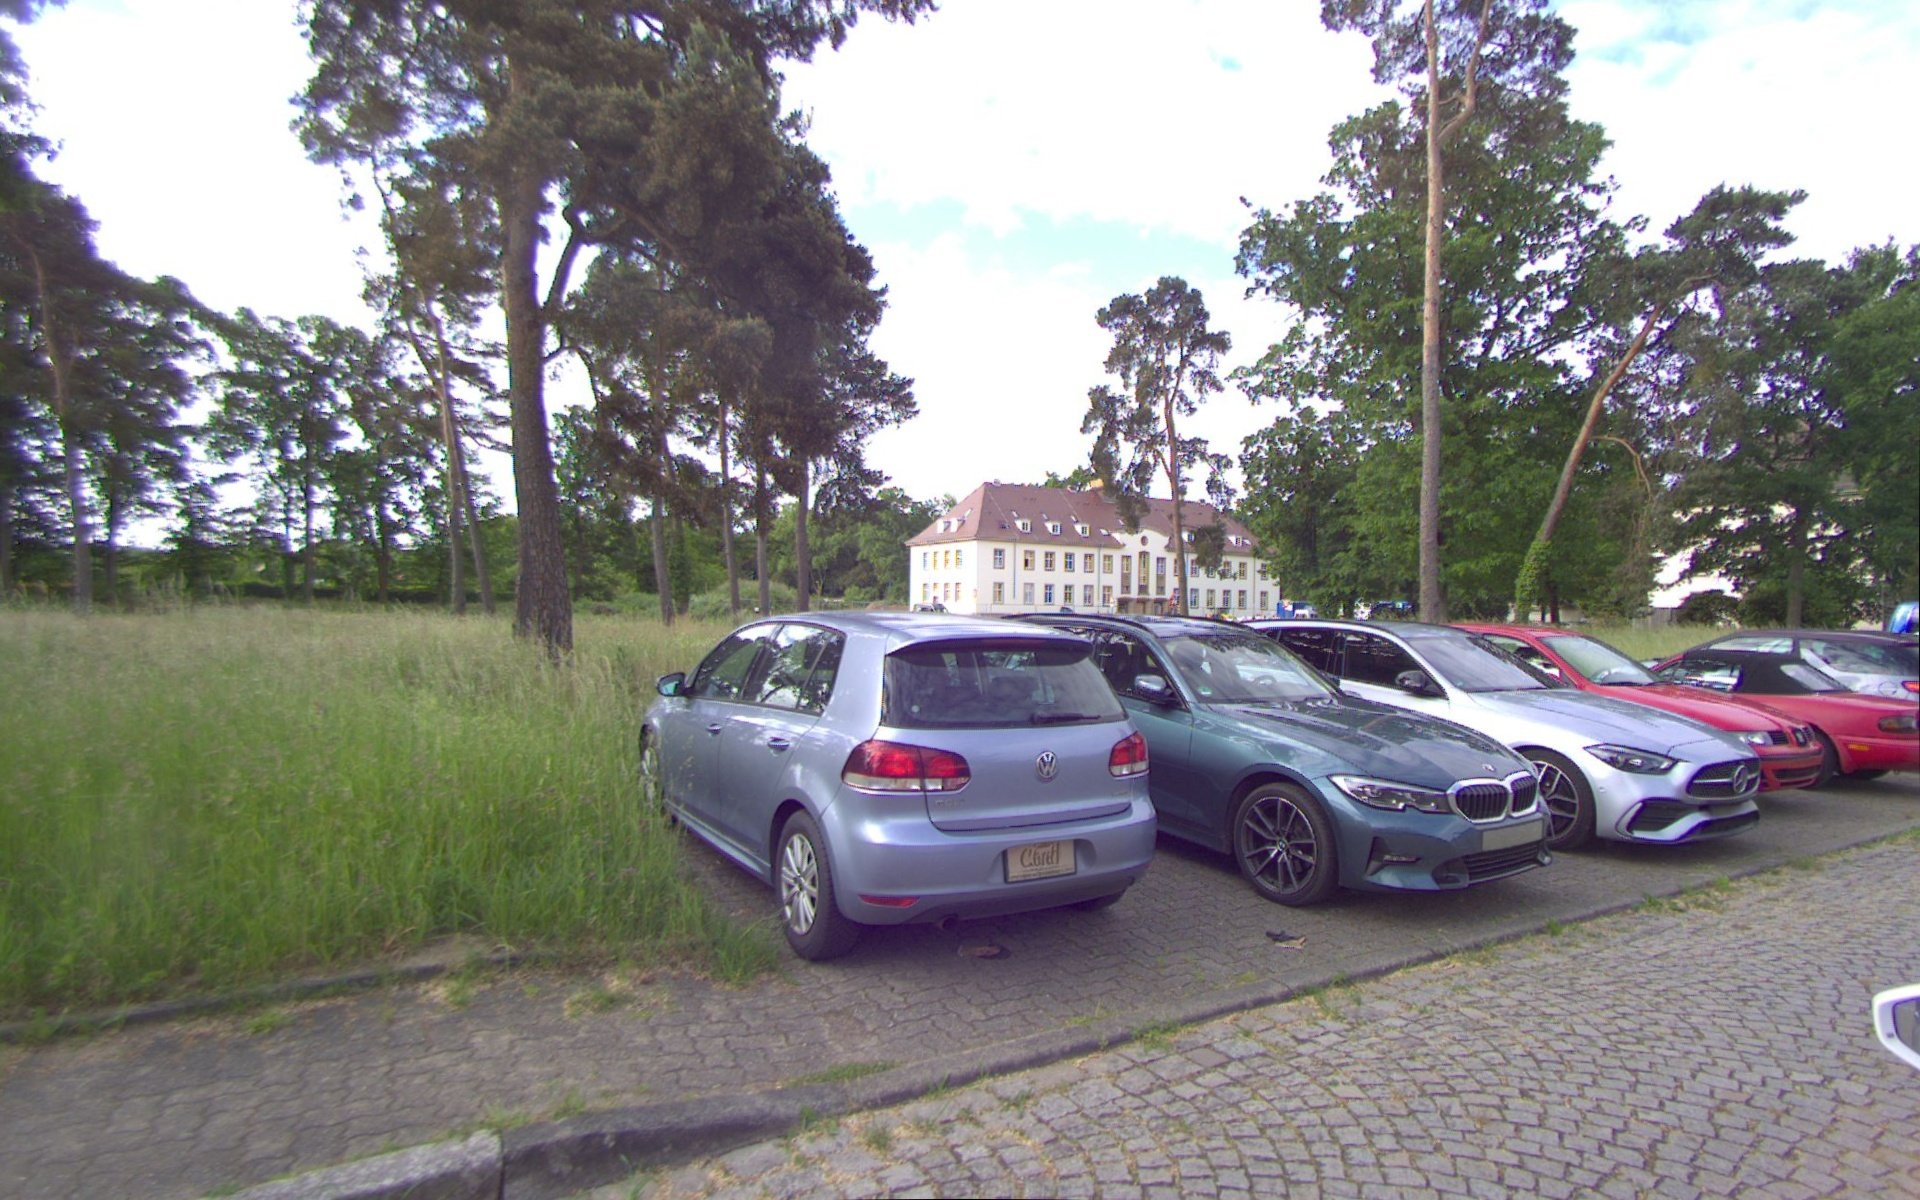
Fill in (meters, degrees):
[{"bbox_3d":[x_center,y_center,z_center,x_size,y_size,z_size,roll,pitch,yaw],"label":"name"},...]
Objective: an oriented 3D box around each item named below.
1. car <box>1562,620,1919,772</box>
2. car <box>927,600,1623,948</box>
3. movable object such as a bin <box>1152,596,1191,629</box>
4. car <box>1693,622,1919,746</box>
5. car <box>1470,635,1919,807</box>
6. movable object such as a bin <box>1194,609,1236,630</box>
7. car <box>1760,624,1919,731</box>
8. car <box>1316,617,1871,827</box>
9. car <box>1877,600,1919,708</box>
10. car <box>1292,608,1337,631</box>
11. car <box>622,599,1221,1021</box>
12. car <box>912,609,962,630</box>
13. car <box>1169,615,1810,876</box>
[{"bbox_3d":[10.042,1.055,12.497,1.734,1.500,4.070,1,0,-29],"label":"car"},{"bbox_3d":[1.731,0.823,7.011,1.851,1.557,4.474,2,0,-33],"label":"car"},{"bbox_3d":[25.226,1.511,119.921,2.105,3.689,6.120,2,-1,-13],"label":"movable object such as a bin"},{"bbox_3d":[12.729,1.112,13.537,1.710,1.500,4.286,1,0,-29],"label":"car"},{"bbox_3d":[7.949,1.112,10.818,1.743,1.300,4.111,1,0,-30],"label":"car"},{"bbox_3d":[29.360,2.257,115.621,2.348,2.283,4.493,3,-2,-25],"label":"movable object such as a bin"},{"bbox_3d":[14.978,1.185,15.307,1.820,1.522,3.988,1,0,-29],"label":"car"},{"bbox_3d":[5.813,0.956,9.813,1.833,1.475,4.233,1,0,-30],"label":"car"},{"bbox_3d":[19.620,1.041,17.743,2.015,2.007,4.685,1,0,-31],"label":"car"},{"bbox_3d":[35.860,2.018,101.561,4.296,2.123,2.051,3,-2,-31],"label":"car"},{"bbox_3d":[-0.659,0.782,5.961,1.805,1.490,4.310,2,0,-29],"label":"car"},{"bbox_3d":[-2.561,2.125,109.553,2.351,2.143,5.759,3,-2,-39],"label":"car"},{"bbox_3d":[3.980,0.925,8.423,1.926,1.474,4.416,2,0,-29],"label":"car"}]
